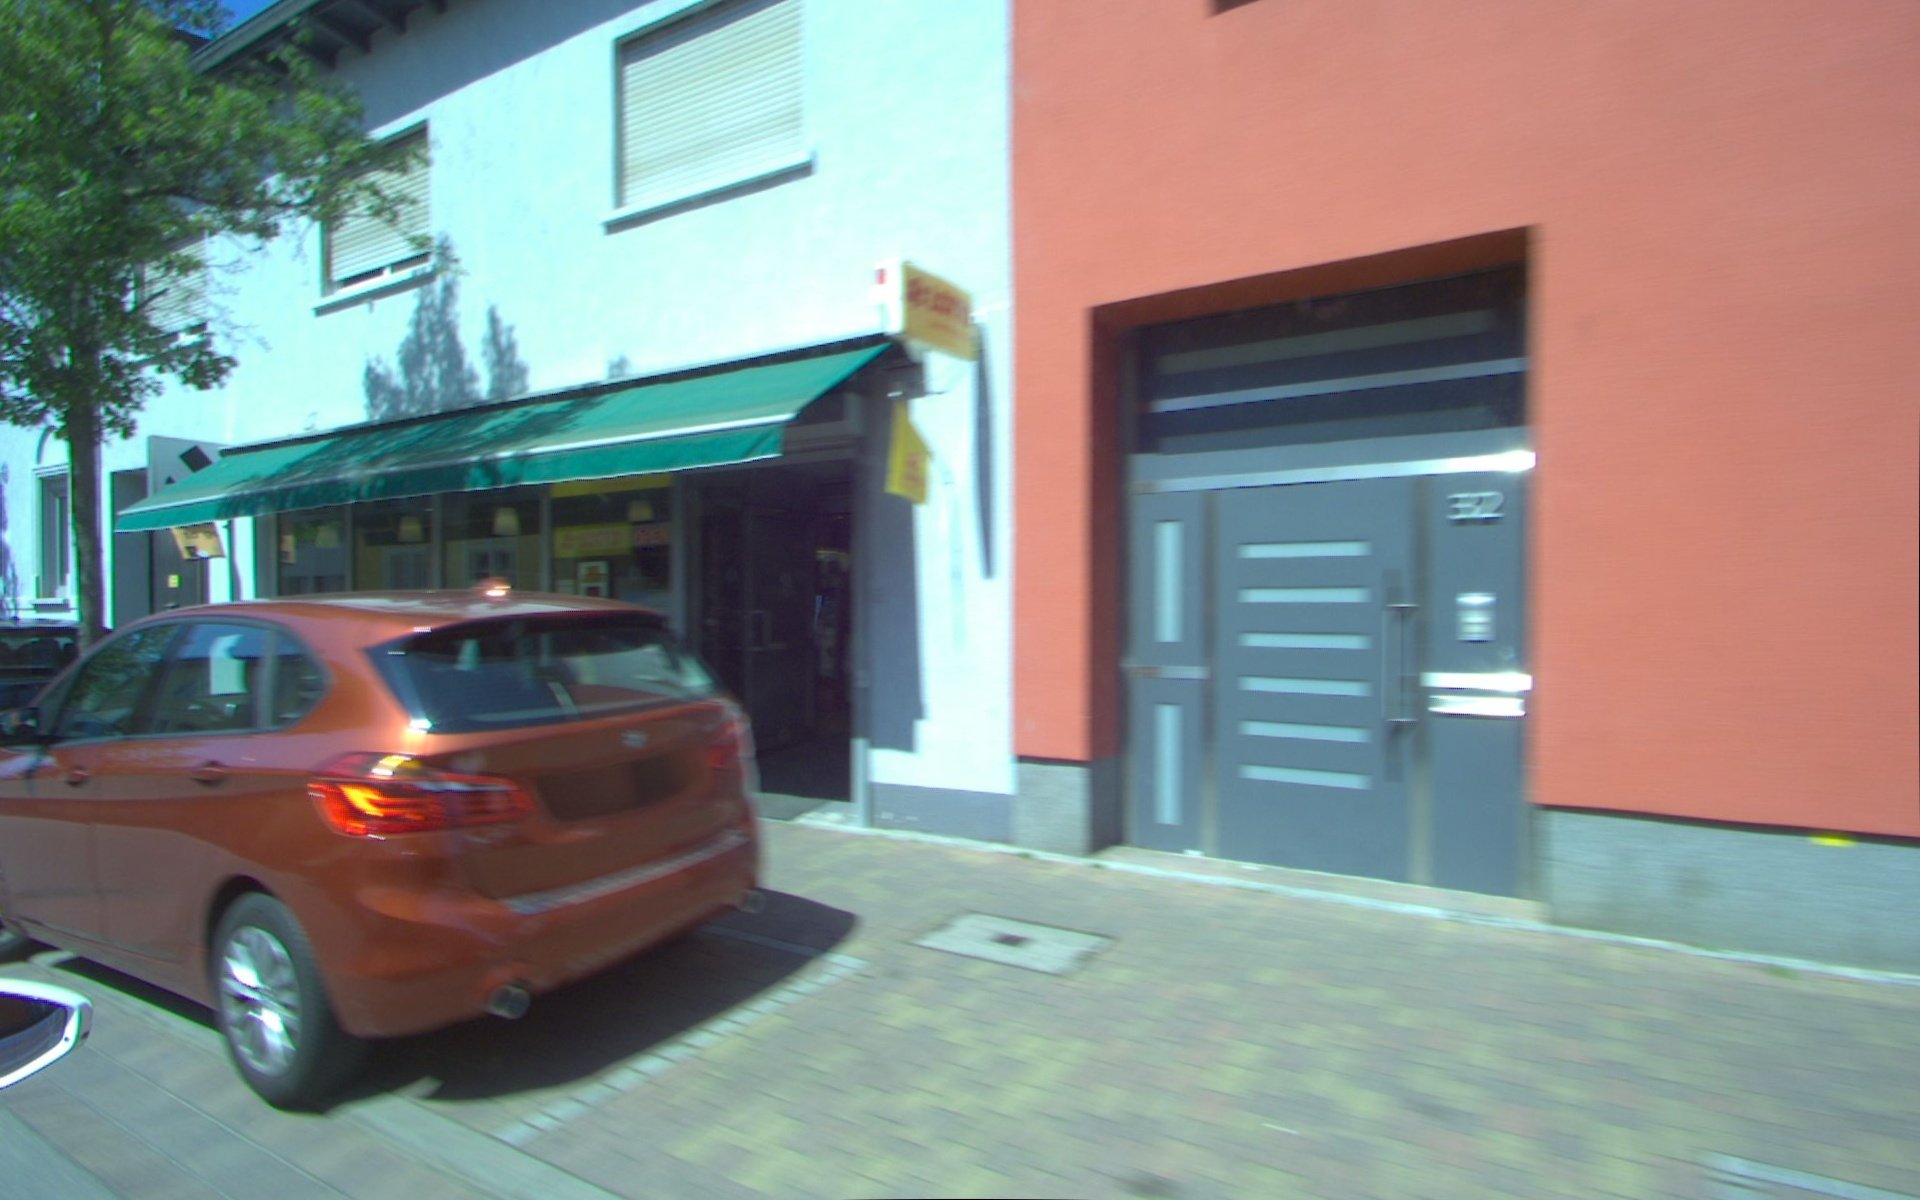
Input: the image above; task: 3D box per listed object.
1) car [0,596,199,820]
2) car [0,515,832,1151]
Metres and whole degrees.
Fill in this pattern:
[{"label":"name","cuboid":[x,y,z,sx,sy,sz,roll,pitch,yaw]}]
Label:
[{"label":"car","cuboid":[-7.959,0.774,8.051,3.682,1.533,1.734,-1,-1,32]},{"label":"car","cuboid":[-2.719,0.620,4.341,4.027,1.609,1.827,-1,0,30]}]
